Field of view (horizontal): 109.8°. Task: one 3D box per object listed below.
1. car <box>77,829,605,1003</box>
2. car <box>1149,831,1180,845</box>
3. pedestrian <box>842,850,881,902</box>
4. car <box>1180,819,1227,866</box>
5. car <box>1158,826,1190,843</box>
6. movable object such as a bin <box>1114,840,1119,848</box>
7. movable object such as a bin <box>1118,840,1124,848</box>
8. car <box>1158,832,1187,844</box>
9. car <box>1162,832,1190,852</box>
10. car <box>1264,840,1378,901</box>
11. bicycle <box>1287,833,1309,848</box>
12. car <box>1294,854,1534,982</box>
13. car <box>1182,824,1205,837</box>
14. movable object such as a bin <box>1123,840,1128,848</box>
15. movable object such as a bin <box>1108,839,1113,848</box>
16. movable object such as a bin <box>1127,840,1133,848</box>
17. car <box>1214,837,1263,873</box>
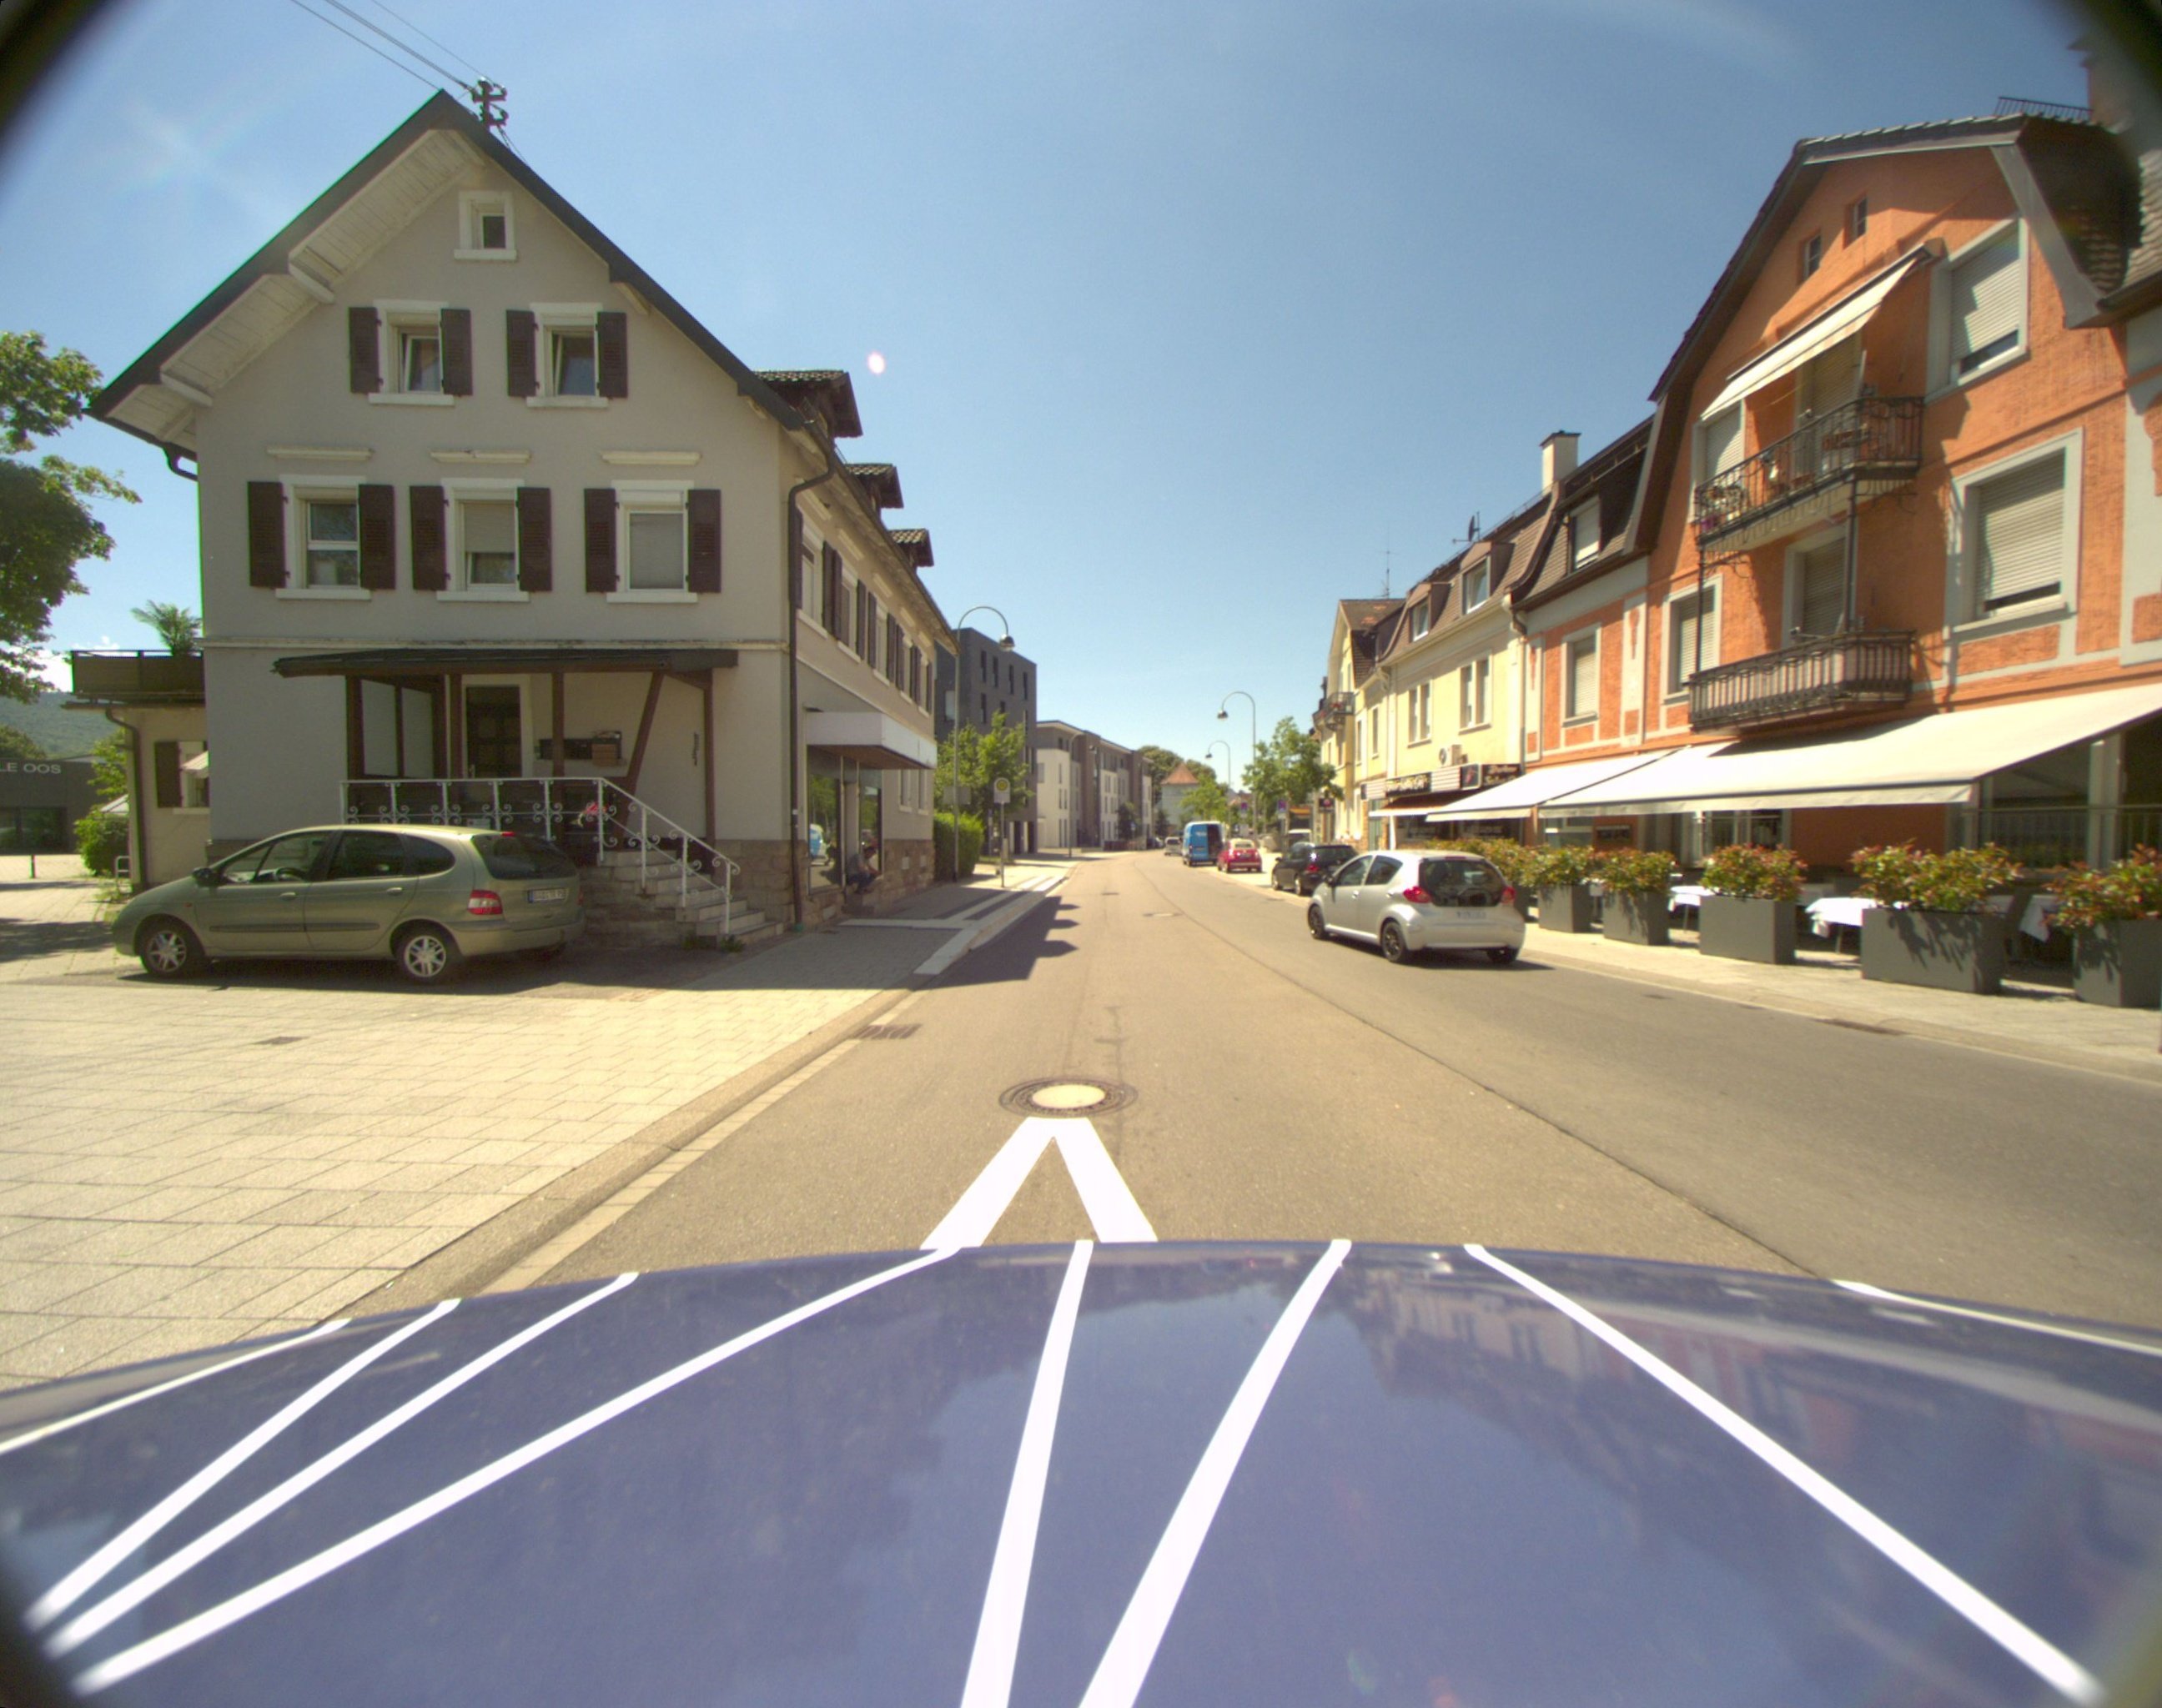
[{"bbox_3d":[-7.812,0.584,8.329,4.071,1.586,1.802,2,2,2],"label":"car"},{"bbox_3d":[11.290,-2.208,102.570,3.812,1.777,1.842,1,2,17],"label":"car"},{"bbox_3d":[-4.357,0.429,15.129,0.591,0.994,0.723,1,2,-4],"label":"pedestrian"},{"bbox_3d":[7.014,-0.694,43.959,2.097,2.484,5.503,-2,2,4],"label":"car"},{"bbox_3d":[14.947,-3.192,121.971,4.860,2.721,1.853,1,3,19],"label":"car"},{"bbox_3d":[3.993,-1.163,85.733,0.473,0.925,0.529,2,3,19],"label":"movable object such as a bin"},{"bbox_3d":[4.477,-1.150,85.493,0.473,0.925,0.529,2,3,19],"label":"movable object such as a bin"},{"bbox_3d":[12.975,-2.272,107.404,3.814,1.454,1.653,-3,0,11],"label":"car"},{"bbox_3d":[9.368,-1.179,74.518,1.996,1.812,4.420,2,1,17],"label":"car"},{"bbox_3d":[6.812,0.397,22.061,1.920,1.473,4.336,-3,1,1],"label":"car"},{"bbox_3d":[19.545,-1.236,68.497,1.769,1.227,0.616,-4,1,2],"label":"bicycle"},{"bbox_3d":[4.480,0.764,10.821,1.580,1.442,3.467,1,1,-6],"label":"car"},{"bbox_3d":[12.438,-2.546,83.890,1.917,1.418,3.985,0,1,18],"label":"car"},{"bbox_3d":[4.996,-1.125,85.365,0.473,0.925,0.529,2,3,19],"label":"movable object such as a bin"},{"bbox_3d":[3.335,-1.175,85.960,0.473,0.925,0.529,2,3,19],"label":"movable object such as a bin"},{"bbox_3d":[5.517,-1.103,85.166,0.473,0.925,0.529,2,3,19],"label":"movable object such as a bin"},{"bbox_3d":[7.285,0.006,35.367,1.563,1.512,3.514,-1,2,0],"label":"car"}]
